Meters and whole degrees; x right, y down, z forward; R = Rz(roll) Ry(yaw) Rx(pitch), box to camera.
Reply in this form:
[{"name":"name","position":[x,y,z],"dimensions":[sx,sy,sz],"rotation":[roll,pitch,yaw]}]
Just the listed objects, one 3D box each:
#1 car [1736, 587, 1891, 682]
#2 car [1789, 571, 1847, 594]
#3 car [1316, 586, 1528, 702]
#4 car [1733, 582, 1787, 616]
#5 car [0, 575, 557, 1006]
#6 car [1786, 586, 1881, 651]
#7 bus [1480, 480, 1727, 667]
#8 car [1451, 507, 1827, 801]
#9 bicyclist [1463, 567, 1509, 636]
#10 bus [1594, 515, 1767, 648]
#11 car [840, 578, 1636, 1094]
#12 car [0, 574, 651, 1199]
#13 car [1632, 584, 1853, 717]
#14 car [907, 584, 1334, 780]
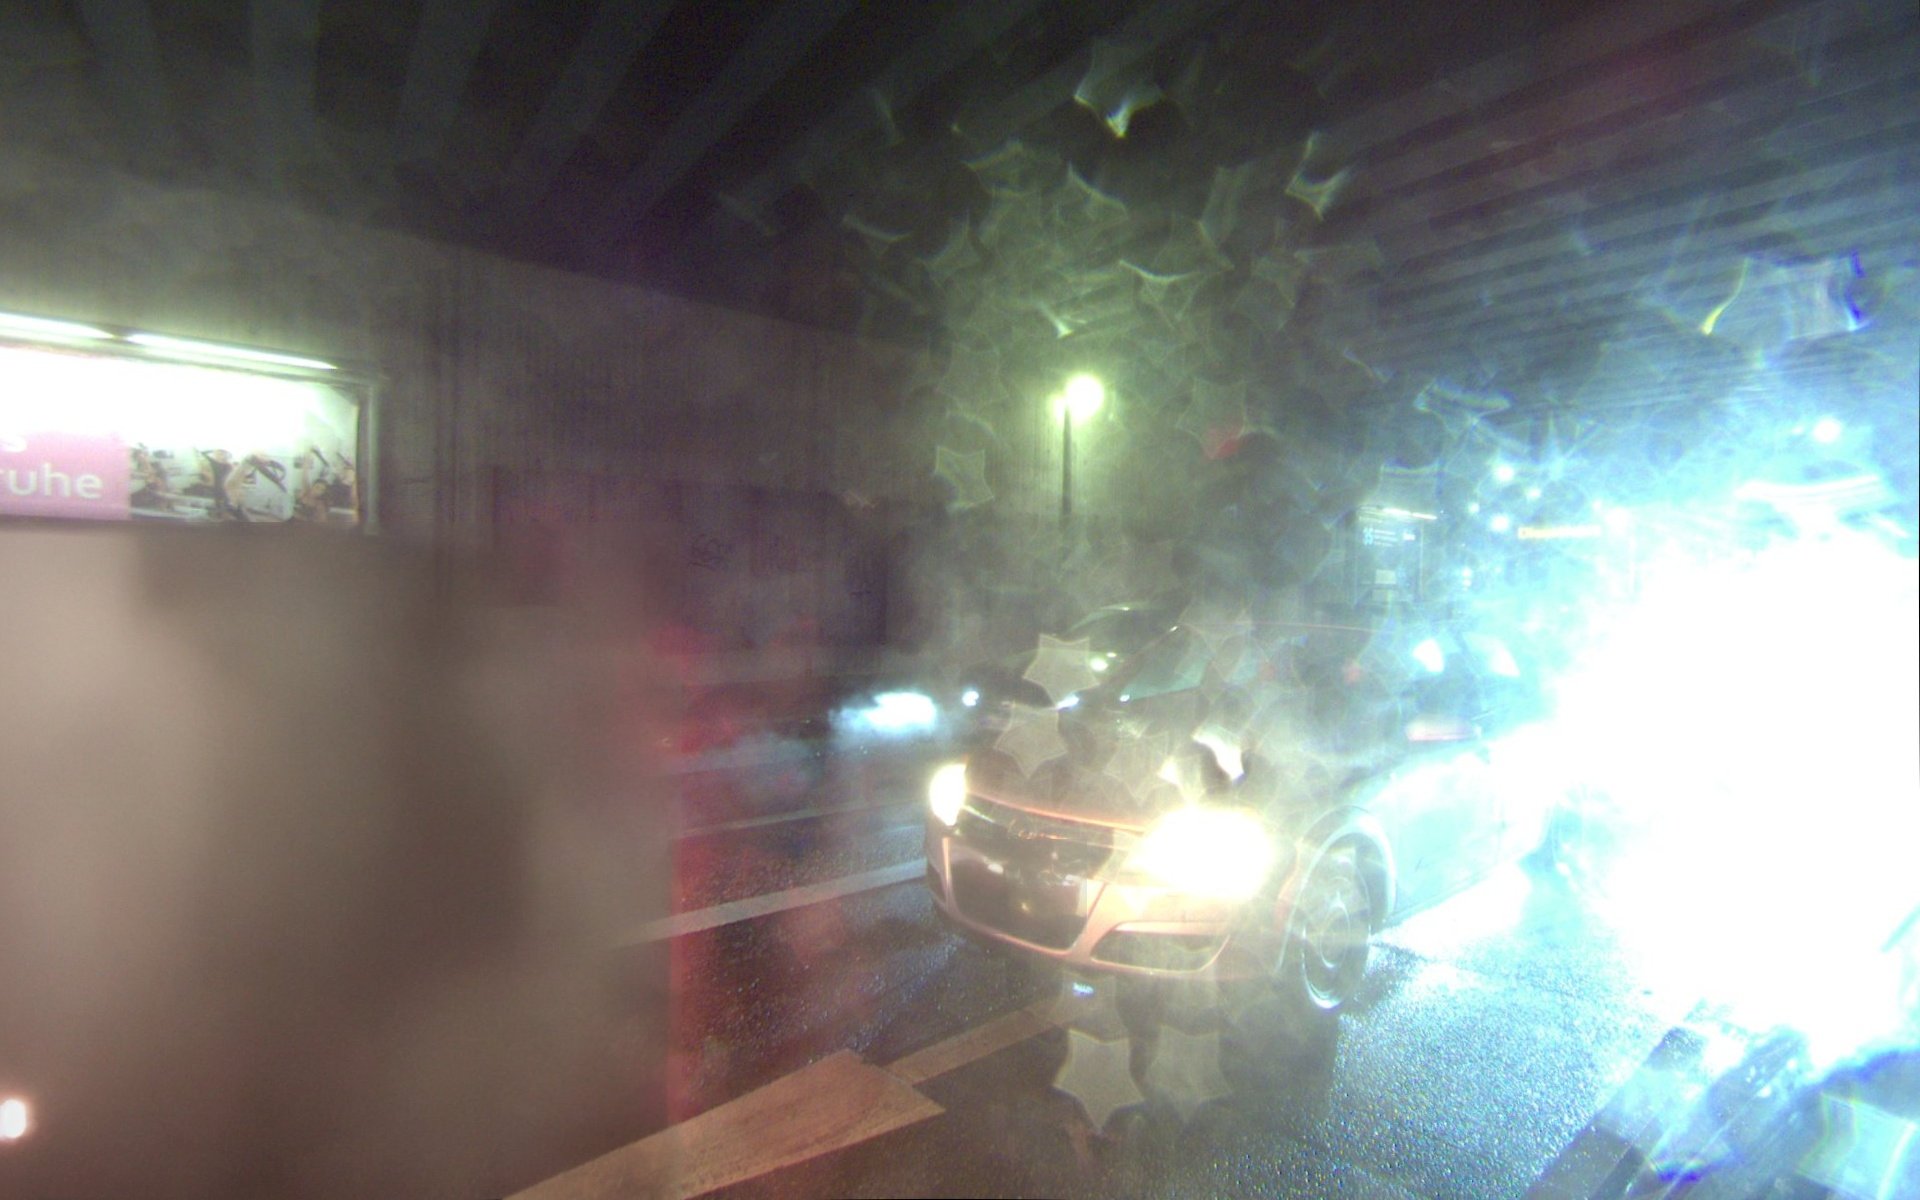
[{"name":"car","position":[15.397,0.529,18.188],"dimensions":[3.932,1.522,1.627],"rotation":[-1,0,-42]},{"name":"car","position":[61.371,-1.241,72.457],"dimensions":[1.977,1.538,3.970],"rotation":[0,0,22]},{"name":"car","position":[6.892,0.548,14.942],"dimensions":[1.750,1.449,3.701],"rotation":[2,1,43]},{"name":"car","position":[39.677,-0.076,50.252],"dimensions":[1.731,1.610,3.952],"rotation":[0,0,33]},{"name":"car","position":[-3.743,0.650,4.177],"dimensions":[3.532,1.477,1.635],"rotation":[-1,0,-42]},{"name":"car","position":[21.751,0.393,25.163],"dimensions":[1.677,1.490,3.939],"rotation":[0,0,42]},{"name":"bus","position":[14.052,-0.448,21.606],"dimensions":[2.768,3.163,9.610],"rotation":[0,0,43]},{"name":"car","position":[6.498,0.363,9.482],"dimensions":[4.274,2.115,1.996],"rotation":[-1,0,-43]},{"name":"bicyclist","position":[13.873,0.028,26.683],"dimensions":[0.885,1.784,0.798],"rotation":[0,0,-41]},{"name":"bus","position":[20.597,-0.438,28.635],"dimensions":[2.768,3.163,9.610],"rotation":[0,0,43]},{"name":"car","position":[1.570,0.626,4.813],"dimensions":[3.931,1.384,1.791],"rotation":[-2,2,-41]},{"name":"car","position":[-2.692,0.691,0.975],"dimensions":[4.273,1.422,1.719],"rotation":[-1,0,-41]},{"name":"car","position":[10.590,0.555,13.603],"dimensions":[3.705,1.531,1.865],"rotation":[-1,0,-44]},{"name":"car","position":[1.727,0.599,9.514],"dimensions":[1.752,1.408,4.494],"rotation":[0,0,43]}]
